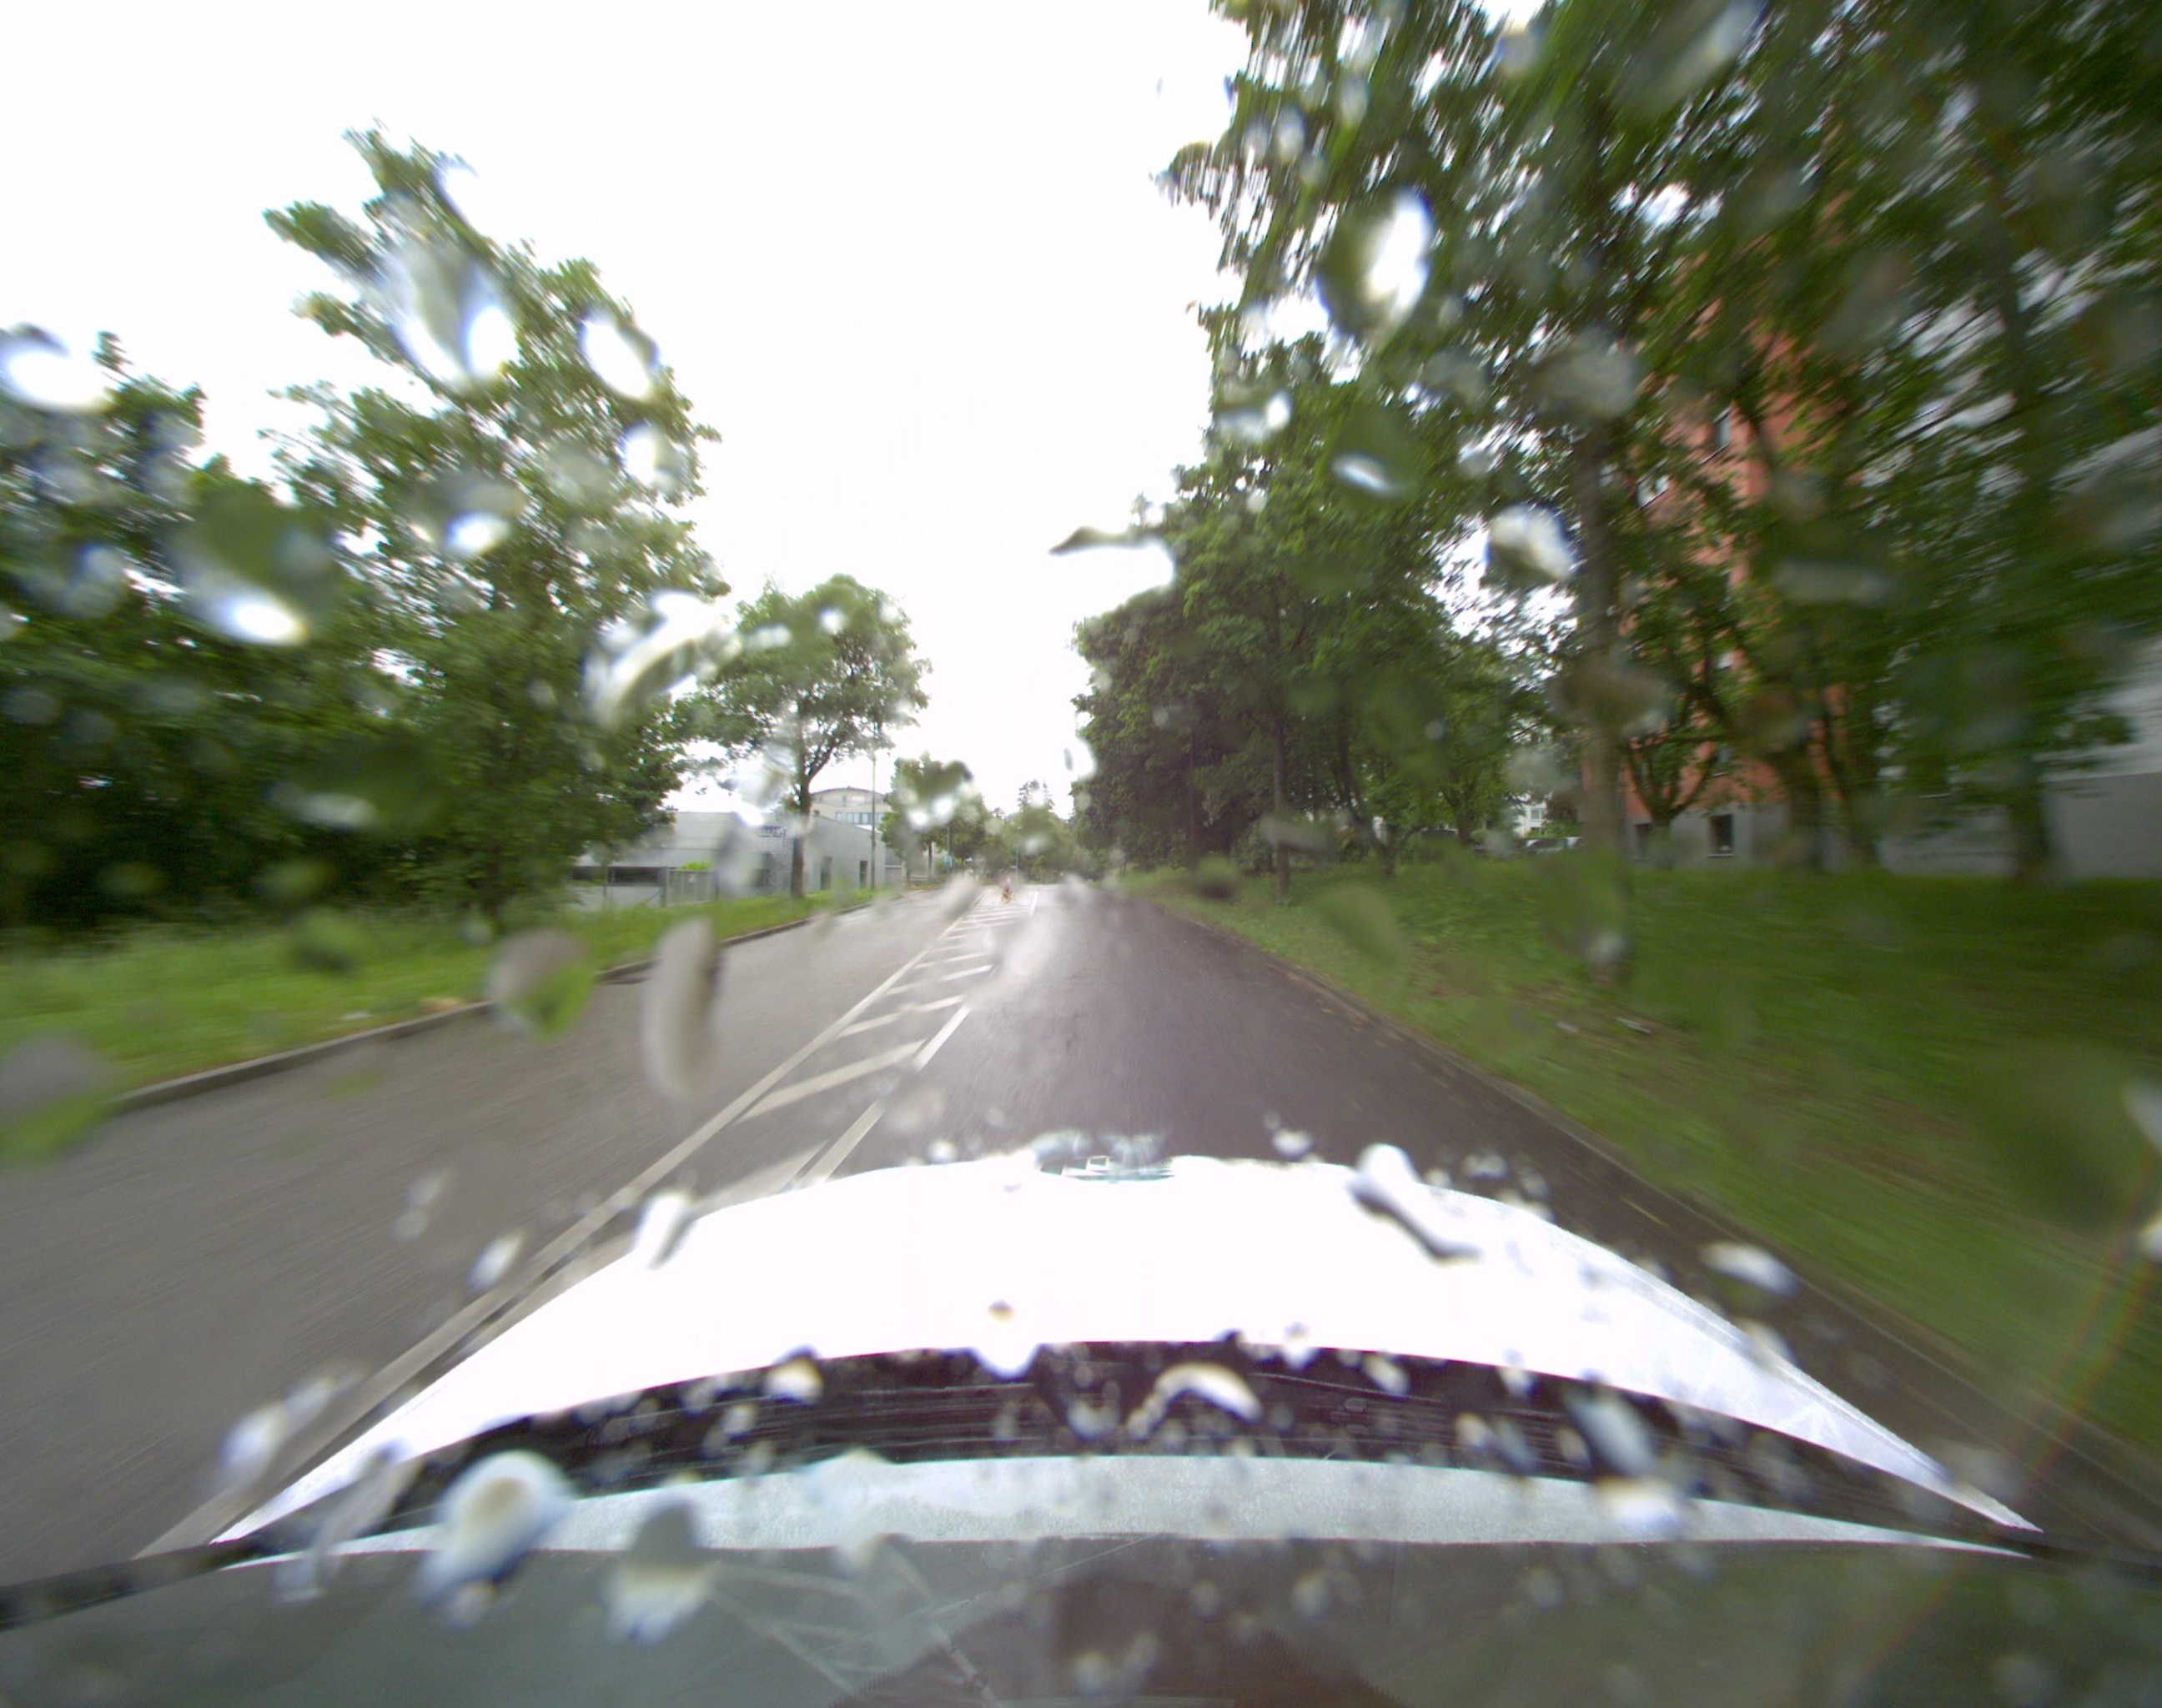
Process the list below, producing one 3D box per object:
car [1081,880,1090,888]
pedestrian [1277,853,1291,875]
[{"bbox_3d":[0.892,5.807,158.979,1.730,1.511,3.999,-1,-3,1],"label":"car"},{"bbox_3d":[12.147,0.580,48.782,0.652,1.284,0.625,-2,-1,1],"label":"pedestrian"}]
